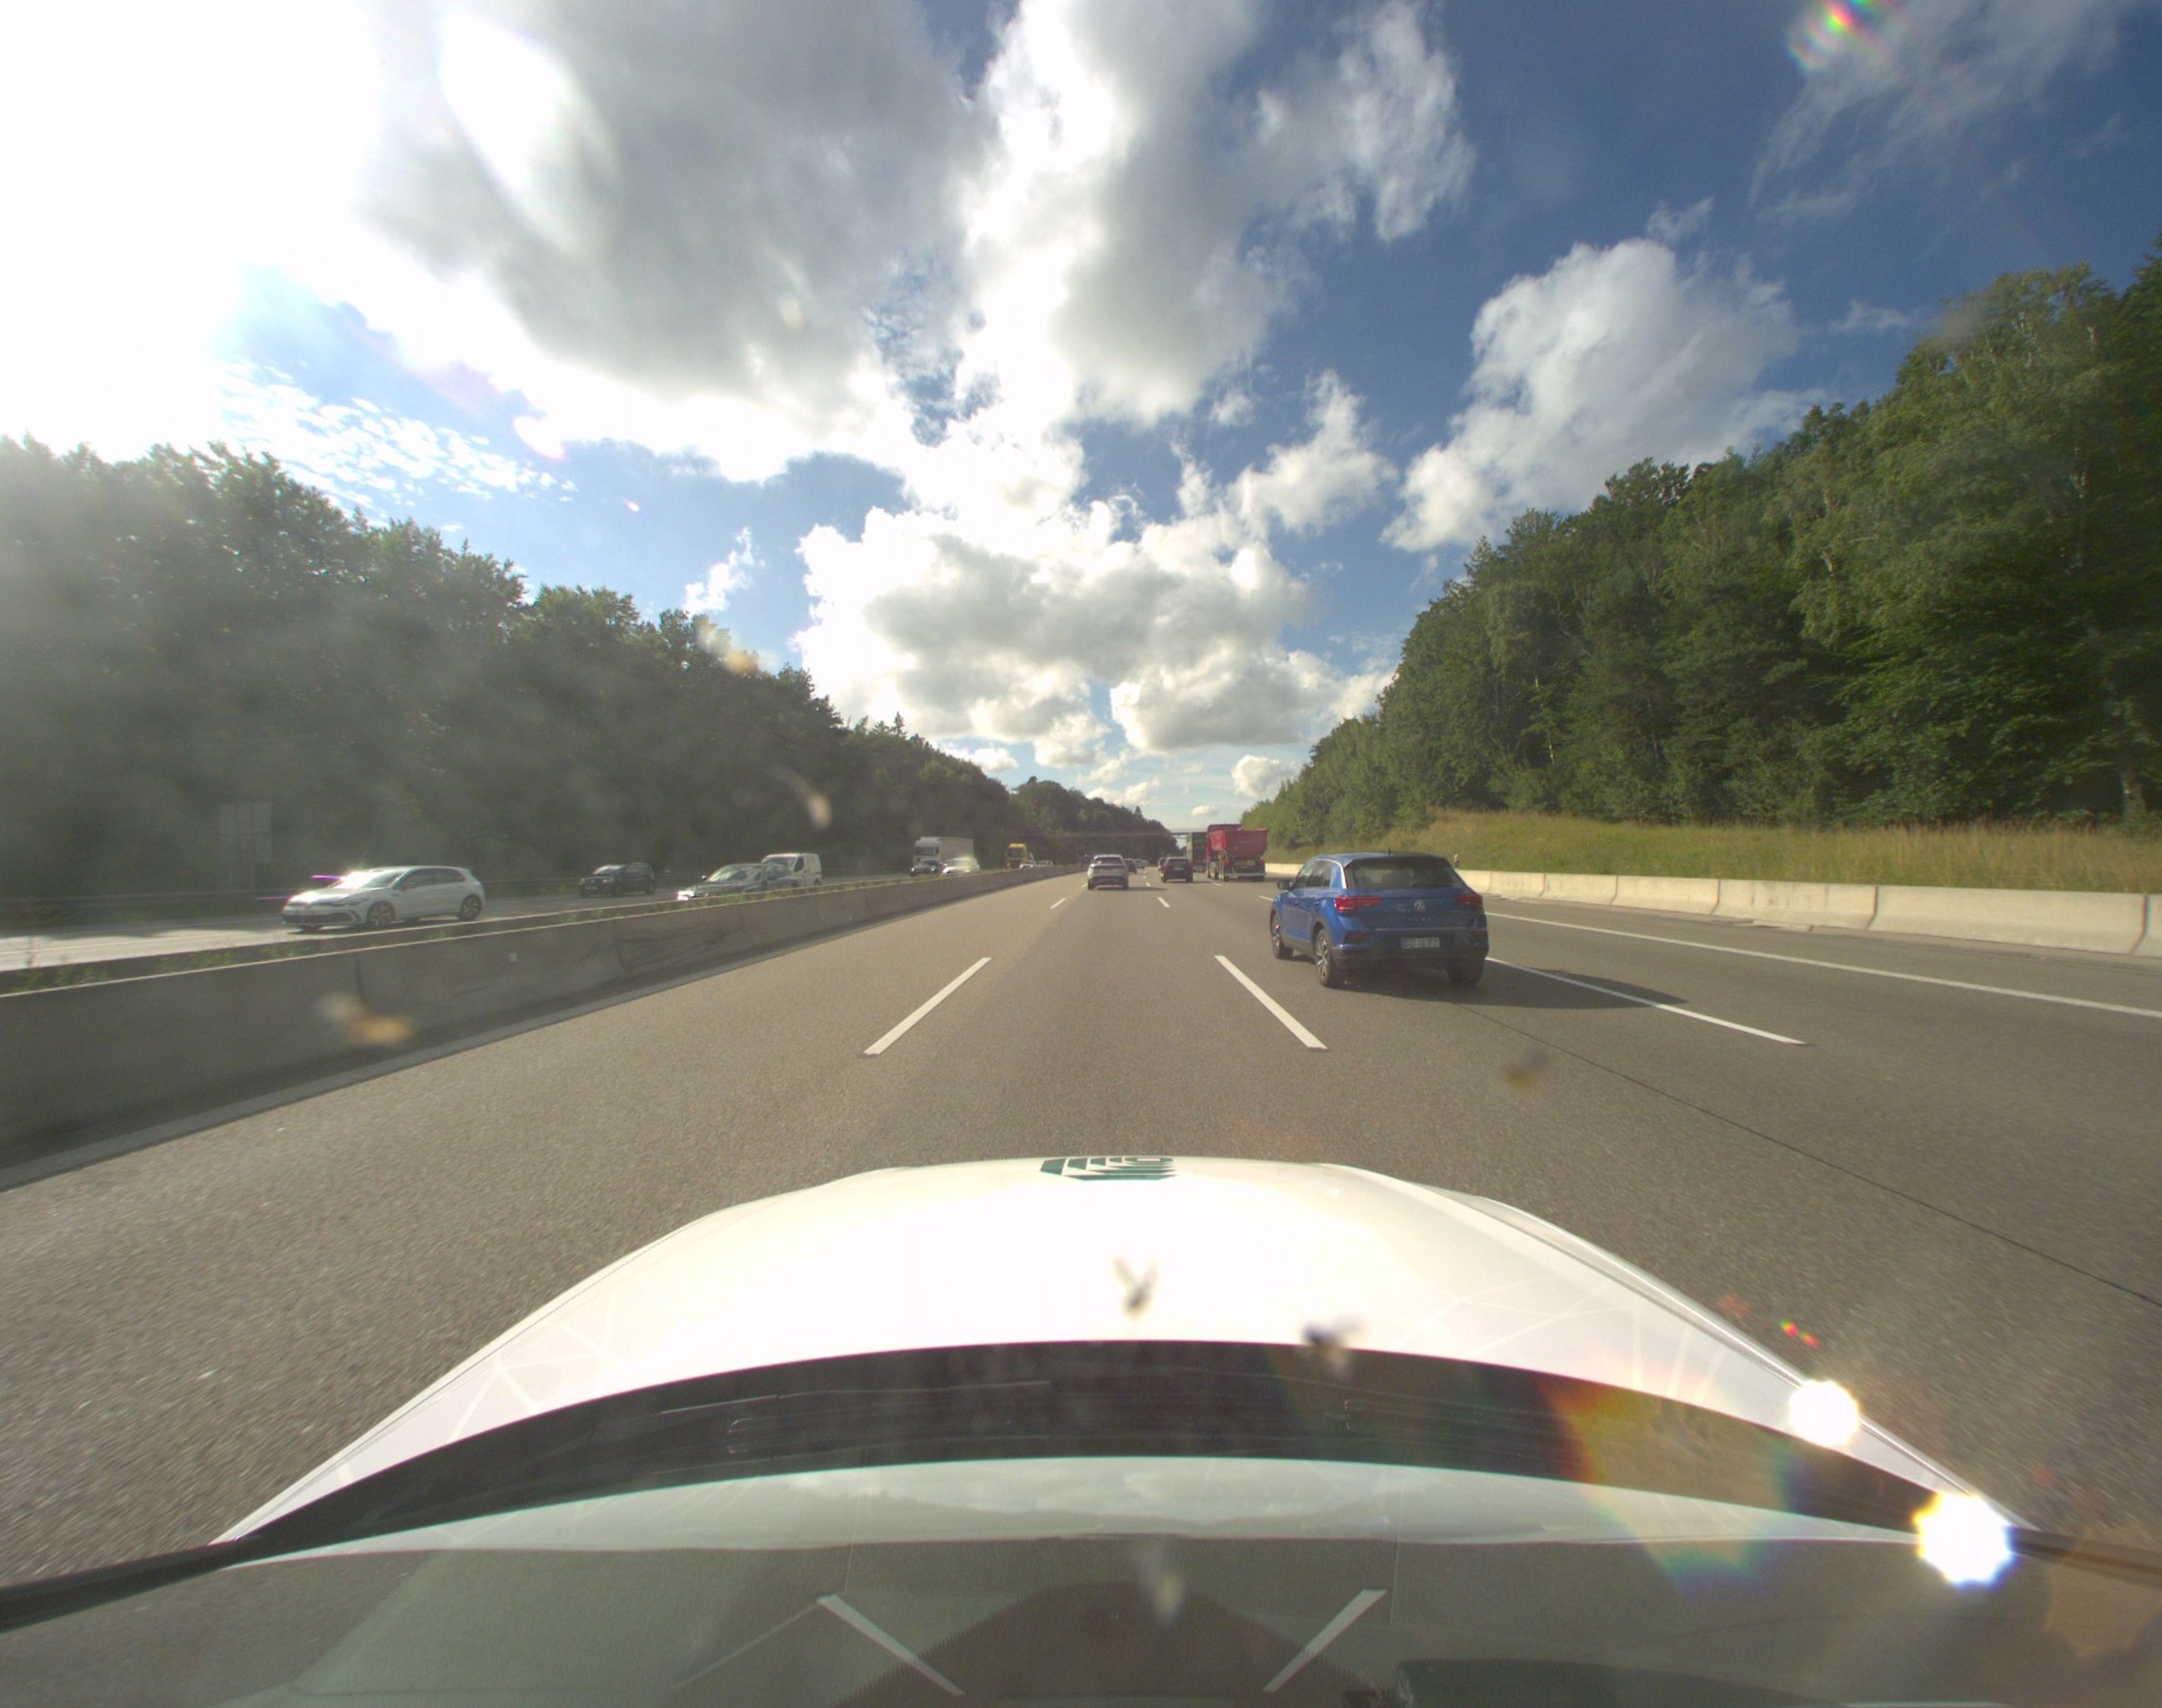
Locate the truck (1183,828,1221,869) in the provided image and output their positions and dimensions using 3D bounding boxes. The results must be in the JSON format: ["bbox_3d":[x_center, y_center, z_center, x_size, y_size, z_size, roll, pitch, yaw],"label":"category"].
[{"bbox_3d":[12.317,-0.519,83.880,3.104,3.935,10.423,-1,0,4],"label":"truck"}]

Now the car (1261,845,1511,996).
[{"bbox_3d":[3.649,0.694,10.668,1.766,1.530,4.460,-1,0,3],"label":"car"}]

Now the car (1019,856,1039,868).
[{"bbox_3d":[-6.815,1.011,106.659,1.985,1.486,4.987,-1,0,3],"label":"car"}]

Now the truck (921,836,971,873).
[{"bbox_3d":[-15.631,0.077,95.559,2.694,4.068,13.104,-1,0,5],"label":"truck"}]

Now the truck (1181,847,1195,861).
[{"bbox_3d":[21.994,0.013,167.024,2.829,2.925,8.403,-1,-1,8],"label":"truck"}]

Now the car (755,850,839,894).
[{"bbox_3d":[-12.842,0.781,37.155,1.986,1.837,4.732,-1,0,2],"label":"car"}]

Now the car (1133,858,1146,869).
[{"bbox_3d":[8.609,1.363,119.503,1.813,1.457,4.006,-1,0,5],"label":"car"}]

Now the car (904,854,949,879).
[{"bbox_3d":[-11.043,0.866,58.537,1.984,1.687,4.685,-1,0,4],"label":"car"}]

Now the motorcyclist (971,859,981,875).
[{"bbox_3d":[-9.787,1.179,76.120,0.751,1.476,1.076,-1,-1,3],"label":"motorcyclist"}]

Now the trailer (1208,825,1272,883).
[{"bbox_3d":[9.710,0.026,50.748,2.698,3.231,9.743,-1,0,4],"label":"trailer"}]

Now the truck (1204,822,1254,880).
[{"bbox_3d":[10.039,-0.194,55.655,2.698,3.718,5.824,-1,0,4],"label":"truck"}]

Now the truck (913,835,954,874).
[{"bbox_3d":[-16.107,0.087,89.311,2.694,4.068,6.606,-1,0,4],"label":"truck"}]

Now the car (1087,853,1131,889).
[{"bbox_3d":[1.324,0.771,39.682,1.999,1.616,5.302,0,0,1],"label":"car"}]

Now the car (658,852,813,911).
[{"bbox_3d":[-9.043,0.666,21.825,1.986,1.390,4.750,-1,0,2],"label":"car"}]

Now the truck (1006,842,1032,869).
[{"bbox_3d":[-9.062,0.234,119.709,2.764,3.810,7.142,-1,0,4],"label":"truck"}]

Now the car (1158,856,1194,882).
[{"bbox_3d":[5.662,0.883,48.964,1.815,1.457,4.003,-1,0,2],"label":"car"}]

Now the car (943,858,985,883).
[{"bbox_3d":[-7.386,1.002,51.826,1.746,1.508,4.683,-1,0,3],"label":"car"}]

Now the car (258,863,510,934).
[{"bbox_3d":[-16.962,1.007,20.237,2.062,1.473,4.675,-1,0,3],"label":"car"}]

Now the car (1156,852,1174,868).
[{"bbox_3d":[10.030,0.676,97.903,1.886,1.857,4.102,-1,0,2],"label":"car"}]

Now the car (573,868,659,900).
[{"bbox_3d":[-20.253,1.278,35.654,1.488,1.212,3.790,-1,0,2],"label":"car"}]

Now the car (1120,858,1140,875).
[{"bbox_3d":[4.732,1.187,78.472,1.813,1.546,4.006,0,0,6],"label":"car"}]
